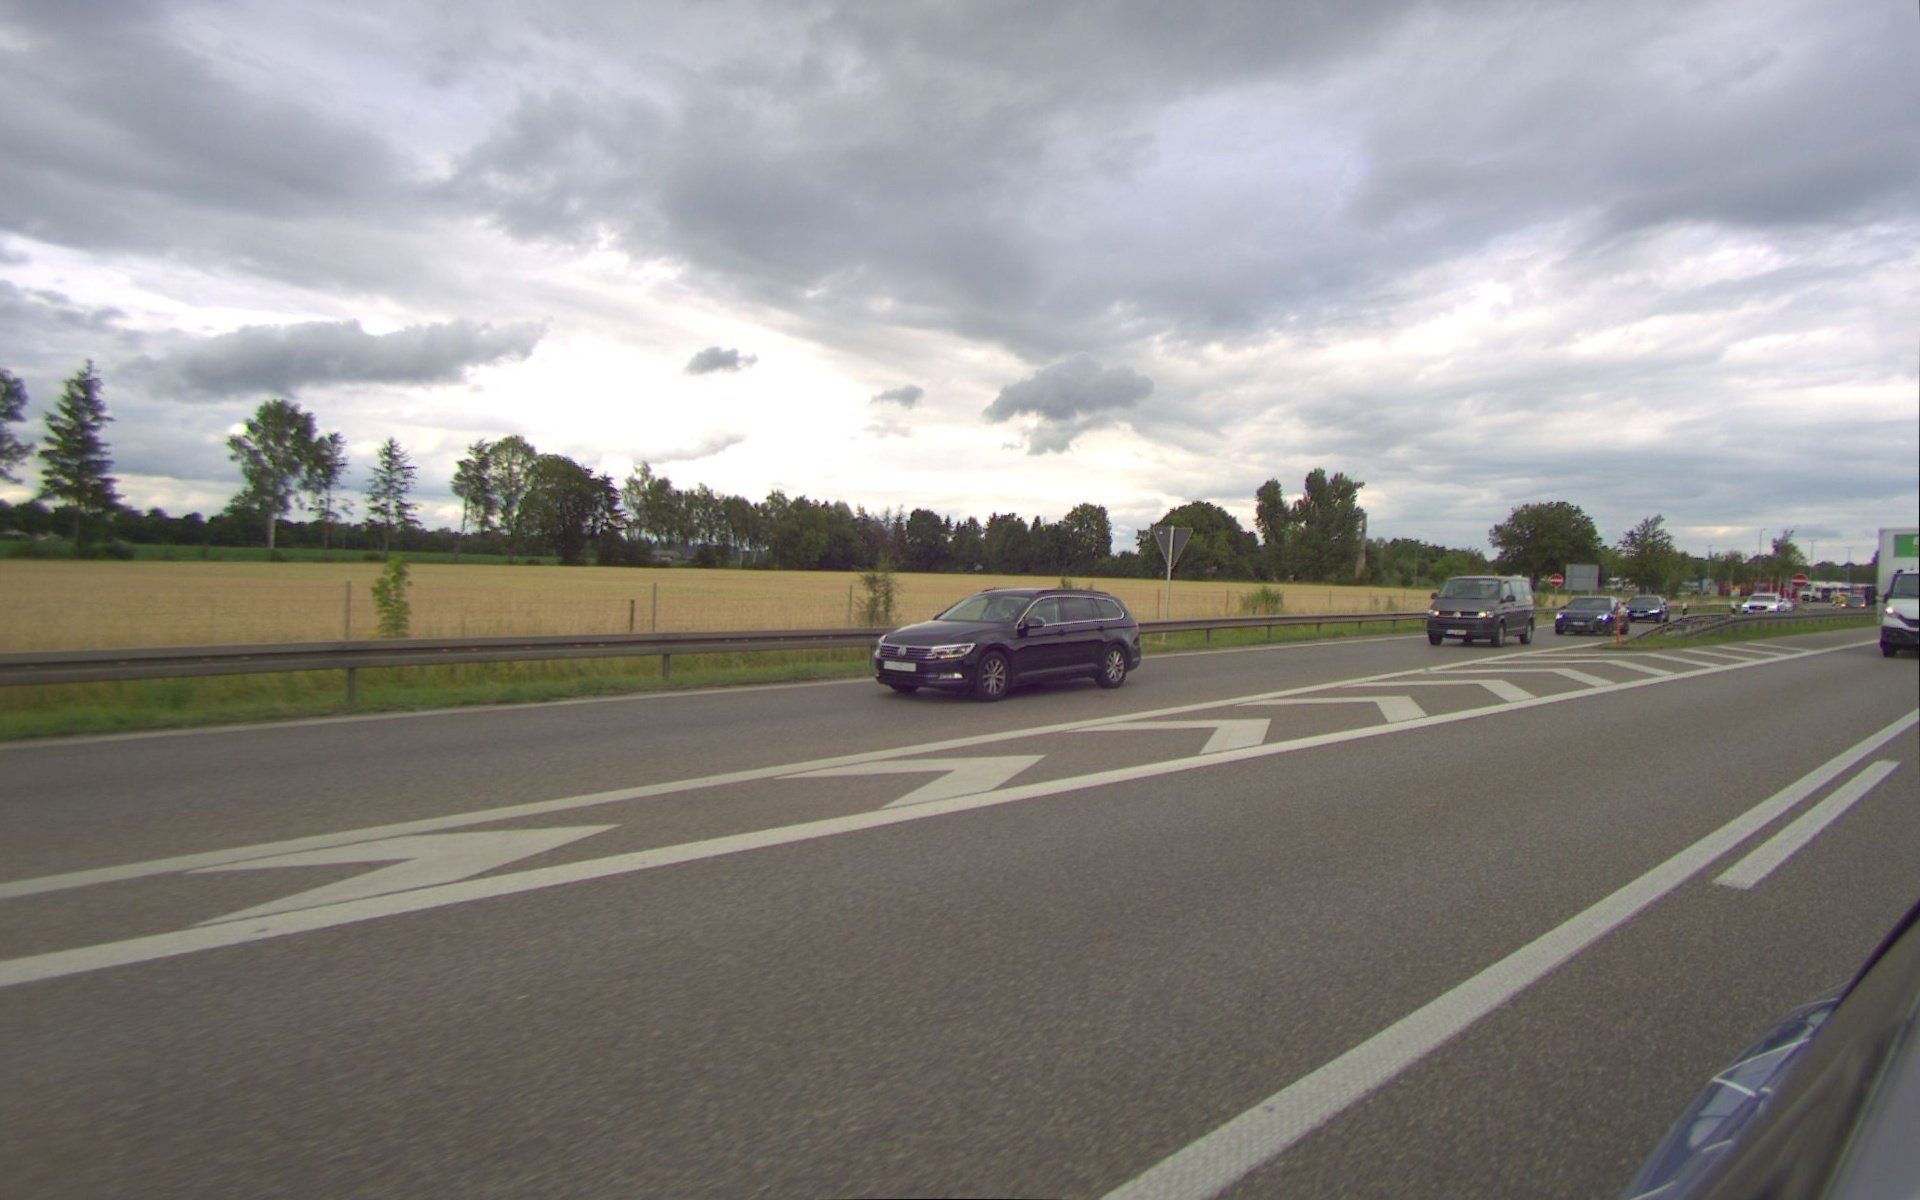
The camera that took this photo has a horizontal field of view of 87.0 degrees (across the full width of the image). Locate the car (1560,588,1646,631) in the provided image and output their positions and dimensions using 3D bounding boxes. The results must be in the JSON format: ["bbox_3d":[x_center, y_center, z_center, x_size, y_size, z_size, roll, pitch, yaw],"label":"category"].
[{"bbox_3d":[24.038,0.326,37.767,4.518,1.503,1.751,0,0,-45],"label":"car"}]

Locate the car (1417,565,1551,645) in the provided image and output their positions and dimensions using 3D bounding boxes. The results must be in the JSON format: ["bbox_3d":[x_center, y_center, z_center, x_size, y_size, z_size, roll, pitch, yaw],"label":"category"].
[{"bbox_3d":[15.162,0.112,29.159,2.144,2.089,4.879,1,1,44],"label":"car"}]

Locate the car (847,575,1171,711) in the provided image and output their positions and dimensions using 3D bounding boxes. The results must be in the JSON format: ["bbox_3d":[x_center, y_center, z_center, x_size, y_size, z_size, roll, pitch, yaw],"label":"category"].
[{"bbox_3d":[0.876,0.487,14.486,1.918,1.569,4.846,3,2,43],"label":"car"}]

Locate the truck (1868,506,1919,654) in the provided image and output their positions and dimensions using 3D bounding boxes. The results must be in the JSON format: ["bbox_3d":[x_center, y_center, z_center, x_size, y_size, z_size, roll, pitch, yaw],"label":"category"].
[{"bbox_3d":[26.726,-0.475,26.912,8.903,3.549,2.775,0,0,-41],"label":"truck"}]

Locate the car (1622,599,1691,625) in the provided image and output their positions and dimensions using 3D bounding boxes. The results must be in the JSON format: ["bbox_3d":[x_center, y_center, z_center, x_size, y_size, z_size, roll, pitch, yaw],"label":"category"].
[{"bbox_3d":[38.593,0.621,56.017,5.615,1.333,1.831,0,0,-41],"label":"car"}]

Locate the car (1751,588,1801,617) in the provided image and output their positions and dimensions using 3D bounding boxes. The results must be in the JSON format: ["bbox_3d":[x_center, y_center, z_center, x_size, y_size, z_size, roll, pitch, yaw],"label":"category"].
[{"bbox_3d":[54.704,0.163,67.804,4.978,1.778,1.831,0,2,-42],"label":"car"}]
